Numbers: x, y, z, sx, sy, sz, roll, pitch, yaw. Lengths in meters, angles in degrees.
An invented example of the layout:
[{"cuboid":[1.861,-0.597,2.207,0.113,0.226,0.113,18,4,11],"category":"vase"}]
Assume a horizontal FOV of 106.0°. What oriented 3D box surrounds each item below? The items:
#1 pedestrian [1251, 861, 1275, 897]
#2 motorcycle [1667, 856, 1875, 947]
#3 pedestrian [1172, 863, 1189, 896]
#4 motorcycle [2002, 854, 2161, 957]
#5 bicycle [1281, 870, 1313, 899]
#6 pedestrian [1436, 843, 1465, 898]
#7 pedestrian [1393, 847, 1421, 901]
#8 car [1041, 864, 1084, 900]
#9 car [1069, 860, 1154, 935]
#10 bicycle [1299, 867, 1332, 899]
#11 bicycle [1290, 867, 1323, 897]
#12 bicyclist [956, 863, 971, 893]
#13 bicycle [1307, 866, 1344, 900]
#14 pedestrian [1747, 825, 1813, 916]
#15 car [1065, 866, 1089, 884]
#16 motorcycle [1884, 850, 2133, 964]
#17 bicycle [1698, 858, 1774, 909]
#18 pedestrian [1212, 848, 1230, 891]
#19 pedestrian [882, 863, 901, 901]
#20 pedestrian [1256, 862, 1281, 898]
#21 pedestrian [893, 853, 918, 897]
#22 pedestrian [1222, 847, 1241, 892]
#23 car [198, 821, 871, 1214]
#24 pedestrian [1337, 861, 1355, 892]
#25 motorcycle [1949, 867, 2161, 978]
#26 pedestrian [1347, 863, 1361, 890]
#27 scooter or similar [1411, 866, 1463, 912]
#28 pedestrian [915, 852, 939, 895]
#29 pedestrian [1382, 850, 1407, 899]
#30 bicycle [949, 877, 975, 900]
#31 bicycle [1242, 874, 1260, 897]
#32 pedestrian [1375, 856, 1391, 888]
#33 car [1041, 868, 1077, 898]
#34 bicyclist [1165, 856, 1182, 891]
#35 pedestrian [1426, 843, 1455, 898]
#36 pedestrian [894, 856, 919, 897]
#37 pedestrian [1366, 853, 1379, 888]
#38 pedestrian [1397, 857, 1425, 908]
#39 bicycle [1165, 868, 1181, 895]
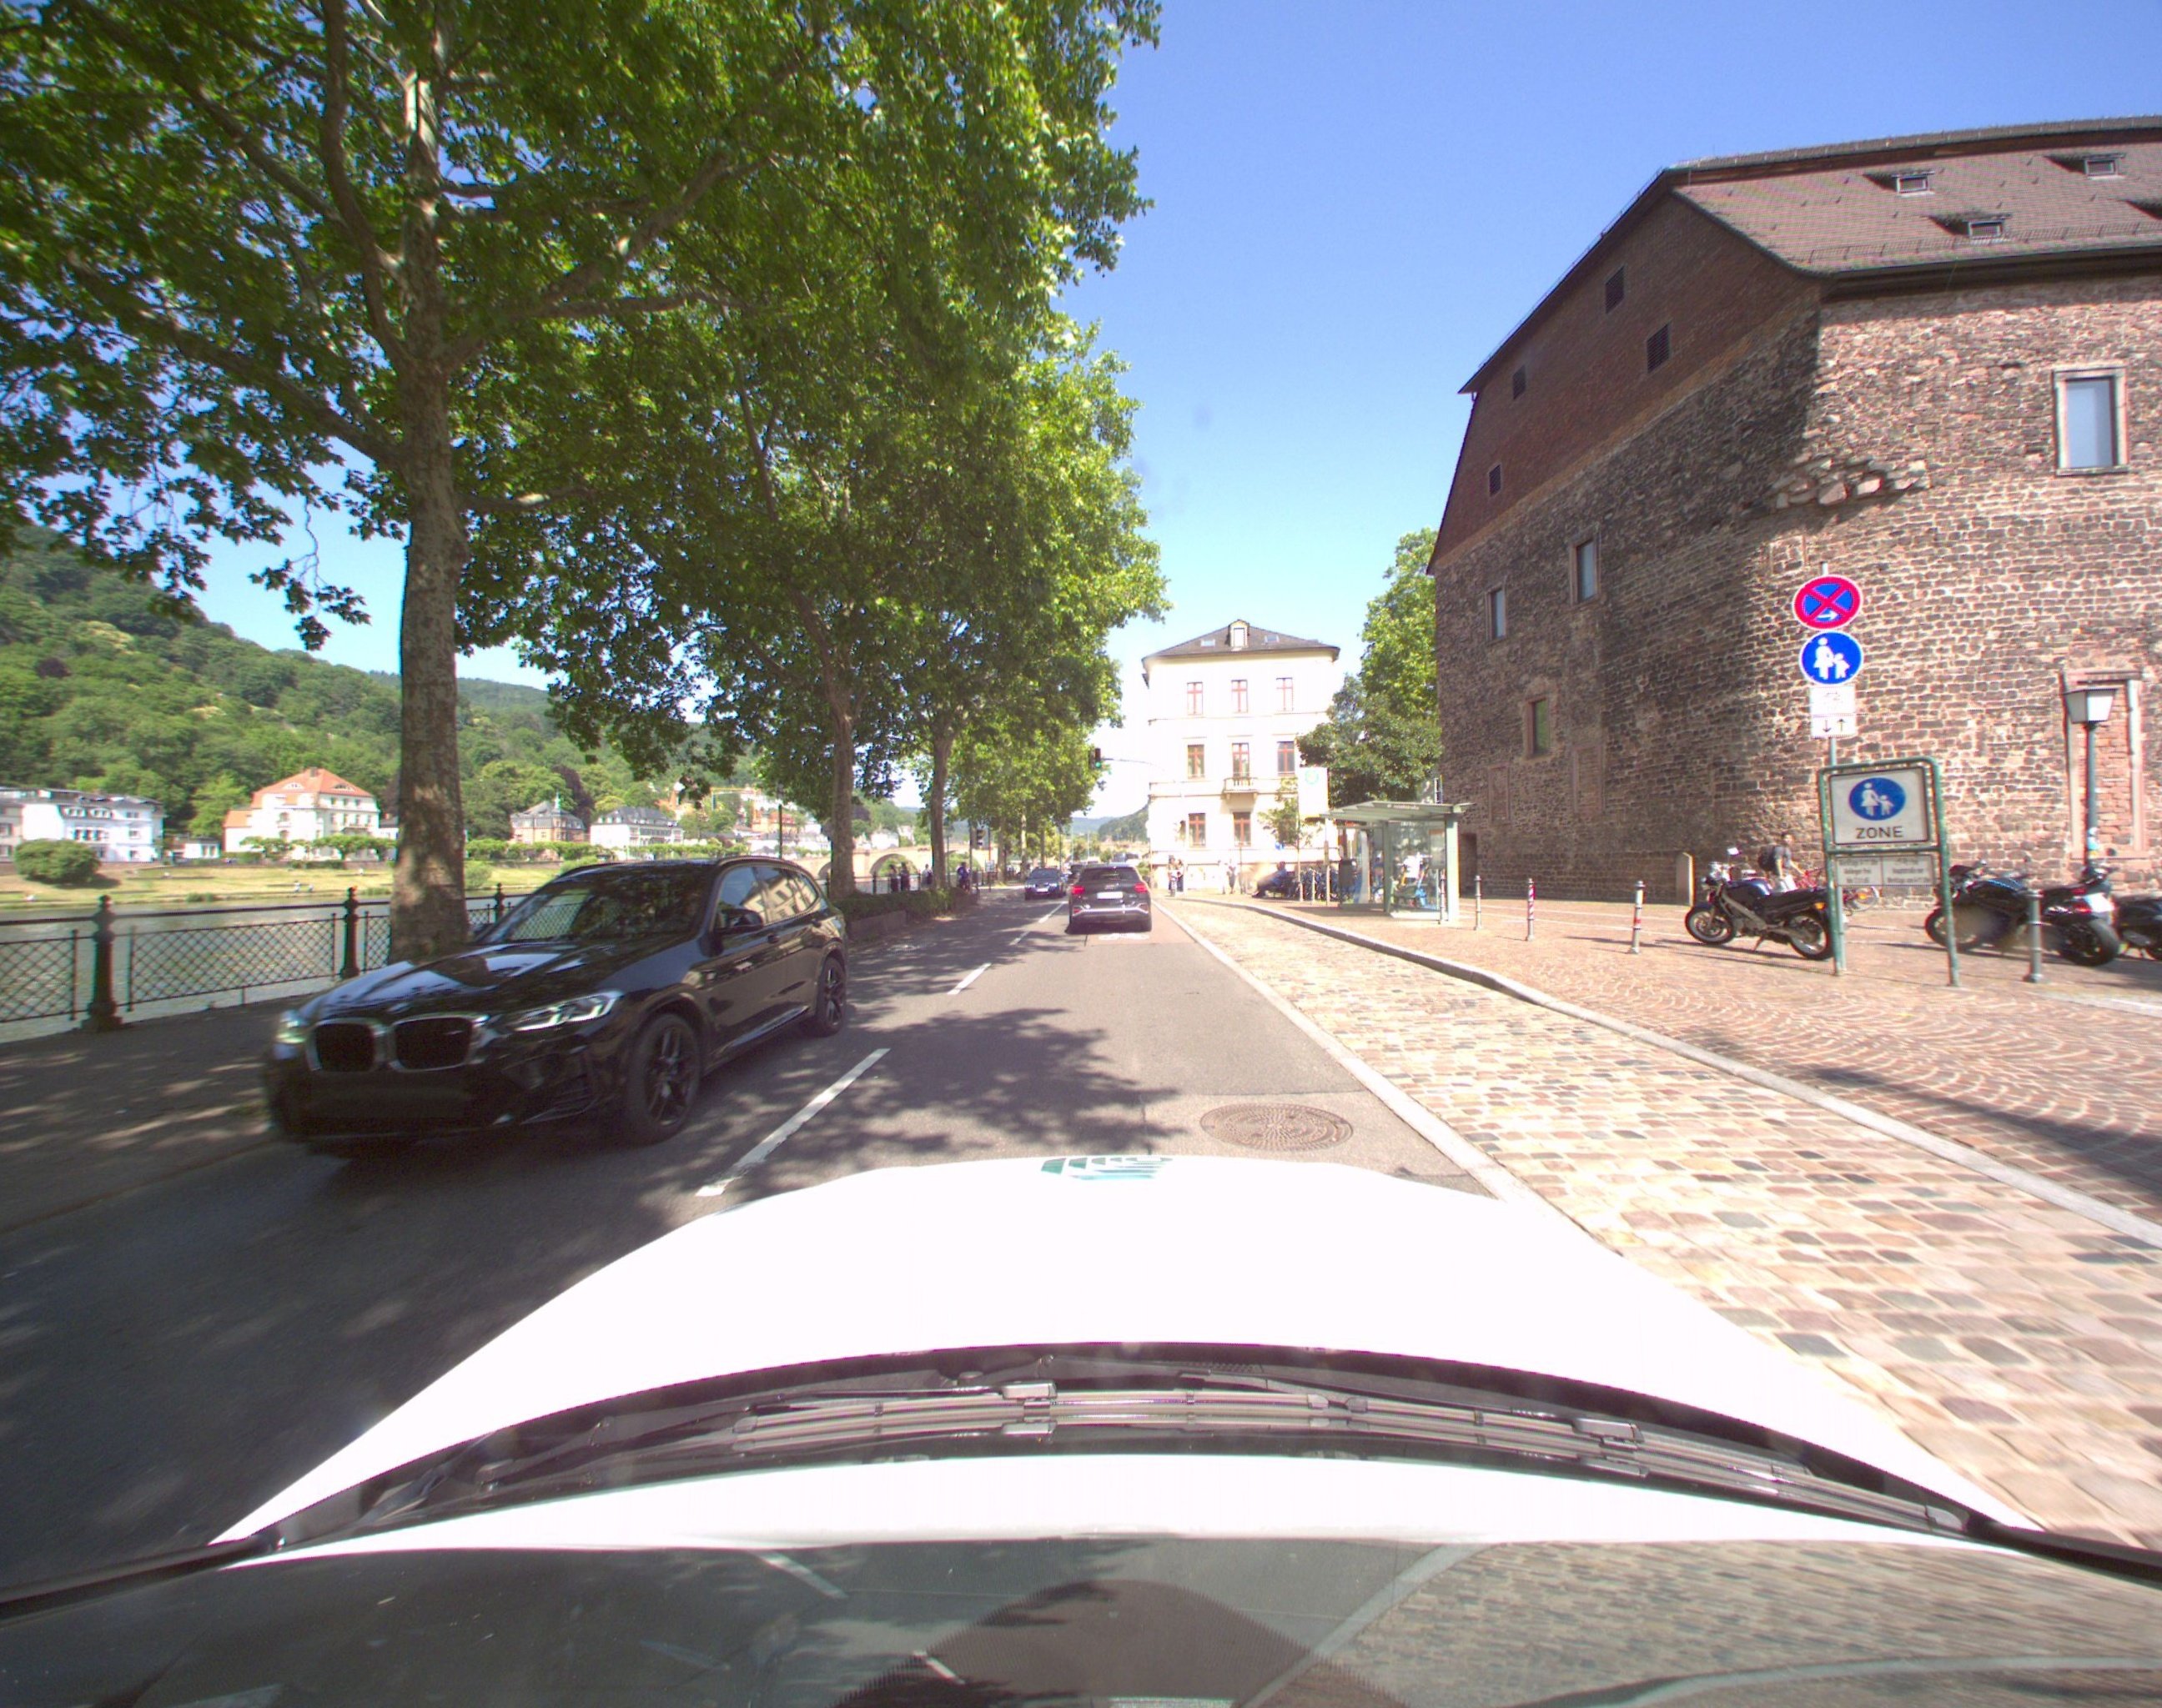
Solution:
[{"cuboid":[6.490,0.887,29.057,0.662,1.231,0.640,1,-2,-4],"category":"pedestrian"},{"cuboid":[8.601,0.541,10.343,0.564,1.012,2.490,-1,-1,1],"category":"motorcycle"},{"cuboid":[4.591,1.181,37.502,0.691,1.500,0.513,1,-2,-2],"category":"pedestrian"},{"cuboid":[13.225,0.639,10.458,0.544,1.235,2.032,1,-1,2],"category":"motorcycle"},{"cuboid":[7.807,1.097,29.431,1.187,1.016,0.178,2,-2,-17],"category":"bicycle"},{"cuboid":[13.959,0.631,30.791,0.727,2.014,0.878,1,-2,2],"category":"pedestrian"},{"cuboid":[11.684,0.710,29.203,0.666,1.884,0.821,1,-2,1],"category":"pedestrian"},{"cuboid":[-0.851,1.294,39.200,1.786,1.595,3.401,1,-1,2],"category":"car"},{"cuboid":[0.703,0.911,18.688,1.736,1.509,3.649,-2,0,2],"category":"car"},{"cuboid":[8.062,0.986,28.000,1.160,1.070,0.178,2,-2,-17],"category":"bicycle"},{"cuboid":[7.956,0.999,28.775,1.204,1.035,0.178,2,-2,-17],"category":"bicycle"},{"cuboid":[-5.246,1.060,36.423,0.565,1.311,0.551,1,-2,-2],"category":"bicyclist"},{"cuboid":[8.195,0.970,27.285,1.306,1.128,0.178,2,-2,-17],"category":"bicycle"},{"cuboid":[15.523,0.366,18.082,0.833,1.949,0.906,0,-1,-36],"category":"pedestrian"},{"cuboid":[-0.339,1.994,78.067,1.985,1.626,4.003,1,-1,4],"category":"car"},{"cuboid":[11.459,0.617,10.210,0.653,1.266,2.201,0,-1,2],"category":"motorcycle"},{"cuboid":[16.460,0.726,20.511,0.388,1.209,1.715,1,-1,-6],"category":"bicycle"},{"cuboid":[6.619,0.748,38.490,0.632,2.014,0.670,0,-2,31],"category":"pedestrian"},{"cuboid":[-8.247,1.219,35.469,0.621,1.619,0.587,1,-2,6],"category":"pedestrian"},{"cuboid":[6.522,0.897,28.345,0.662,1.212,0.640,1,-2,-4],"category":"pedestrian"},{"cuboid":[-8.077,0.964,37.488,0.906,2.014,0.587,1,-2,6],"category":"pedestrian"},{"cuboid":[6.938,0.719,37.560,0.632,2.014,0.670,0,-2,31],"category":"pedestrian"},{"cuboid":[-3.218,0.807,6.136,1.806,1.725,4.424,-6,-1,2],"category":"car"},{"cuboid":[17.486,1.457,53.817,0.941,2.014,0.808,1,-2,2],"category":"pedestrian"},{"cuboid":[12.488,0.802,10.278,0.672,1.235,2.313,1,-1,2],"category":"motorcycle"},{"cuboid":[20.602,1.671,61.424,0.836,2.014,0.738,1,-2,2],"category":"pedestrian"},{"cuboid":[8.471,0.836,19.388,1.085,1.066,0.323,1,-2,0],"category":"scooter or similar"},{"cuboid":[-7.294,0.924,38.574,0.906,2.014,0.587,1,-2,6],"category":"pedestrian"},{"cuboid":[11.768,0.758,30.598,0.649,1.802,0.847,0,-1,1],"category":"pedestrian"},{"cuboid":[-5.311,1.553,36.390,1.091,1.006,0.303,1,-2,-5],"category":"bicycle"},{"cuboid":[7.375,1.378,35.336,0.299,0.964,1.184,2,-1,-10],"category":"bicycle"},{"cuboid":[14.639,0.888,39.476,0.619,1.532,0.467,1,-2,6],"category":"pedestrian"},{"cuboid":[-1.392,1.888,53.703,1.985,1.807,4.003,1,-1,4],"category":"car"},{"cuboid":[3.852,0.829,34.080,0.603,1.450,0.590,1,-2,-3],"category":"bicyclist"},{"cuboid":[13.021,0.599,29.525,0.666,1.920,0.821,1,-2,1],"category":"pedestrian"},{"cuboid":[-7.824,1.009,36.614,0.906,1.811,0.587,1,-1,6],"category":"pedestrian"},{"cuboid":[14.143,0.815,39.519,0.447,1.681,0.467,1,-2,5],"category":"pedestrian"},{"cuboid":[9.118,0.791,22.515,0.555,1.385,0.588,1,-2,4],"category":"pedestrian"},{"cuboid":[3.839,1.155,34.051,0.436,1.086,1.676,1,-1,-2],"category":"bicycle"}]
